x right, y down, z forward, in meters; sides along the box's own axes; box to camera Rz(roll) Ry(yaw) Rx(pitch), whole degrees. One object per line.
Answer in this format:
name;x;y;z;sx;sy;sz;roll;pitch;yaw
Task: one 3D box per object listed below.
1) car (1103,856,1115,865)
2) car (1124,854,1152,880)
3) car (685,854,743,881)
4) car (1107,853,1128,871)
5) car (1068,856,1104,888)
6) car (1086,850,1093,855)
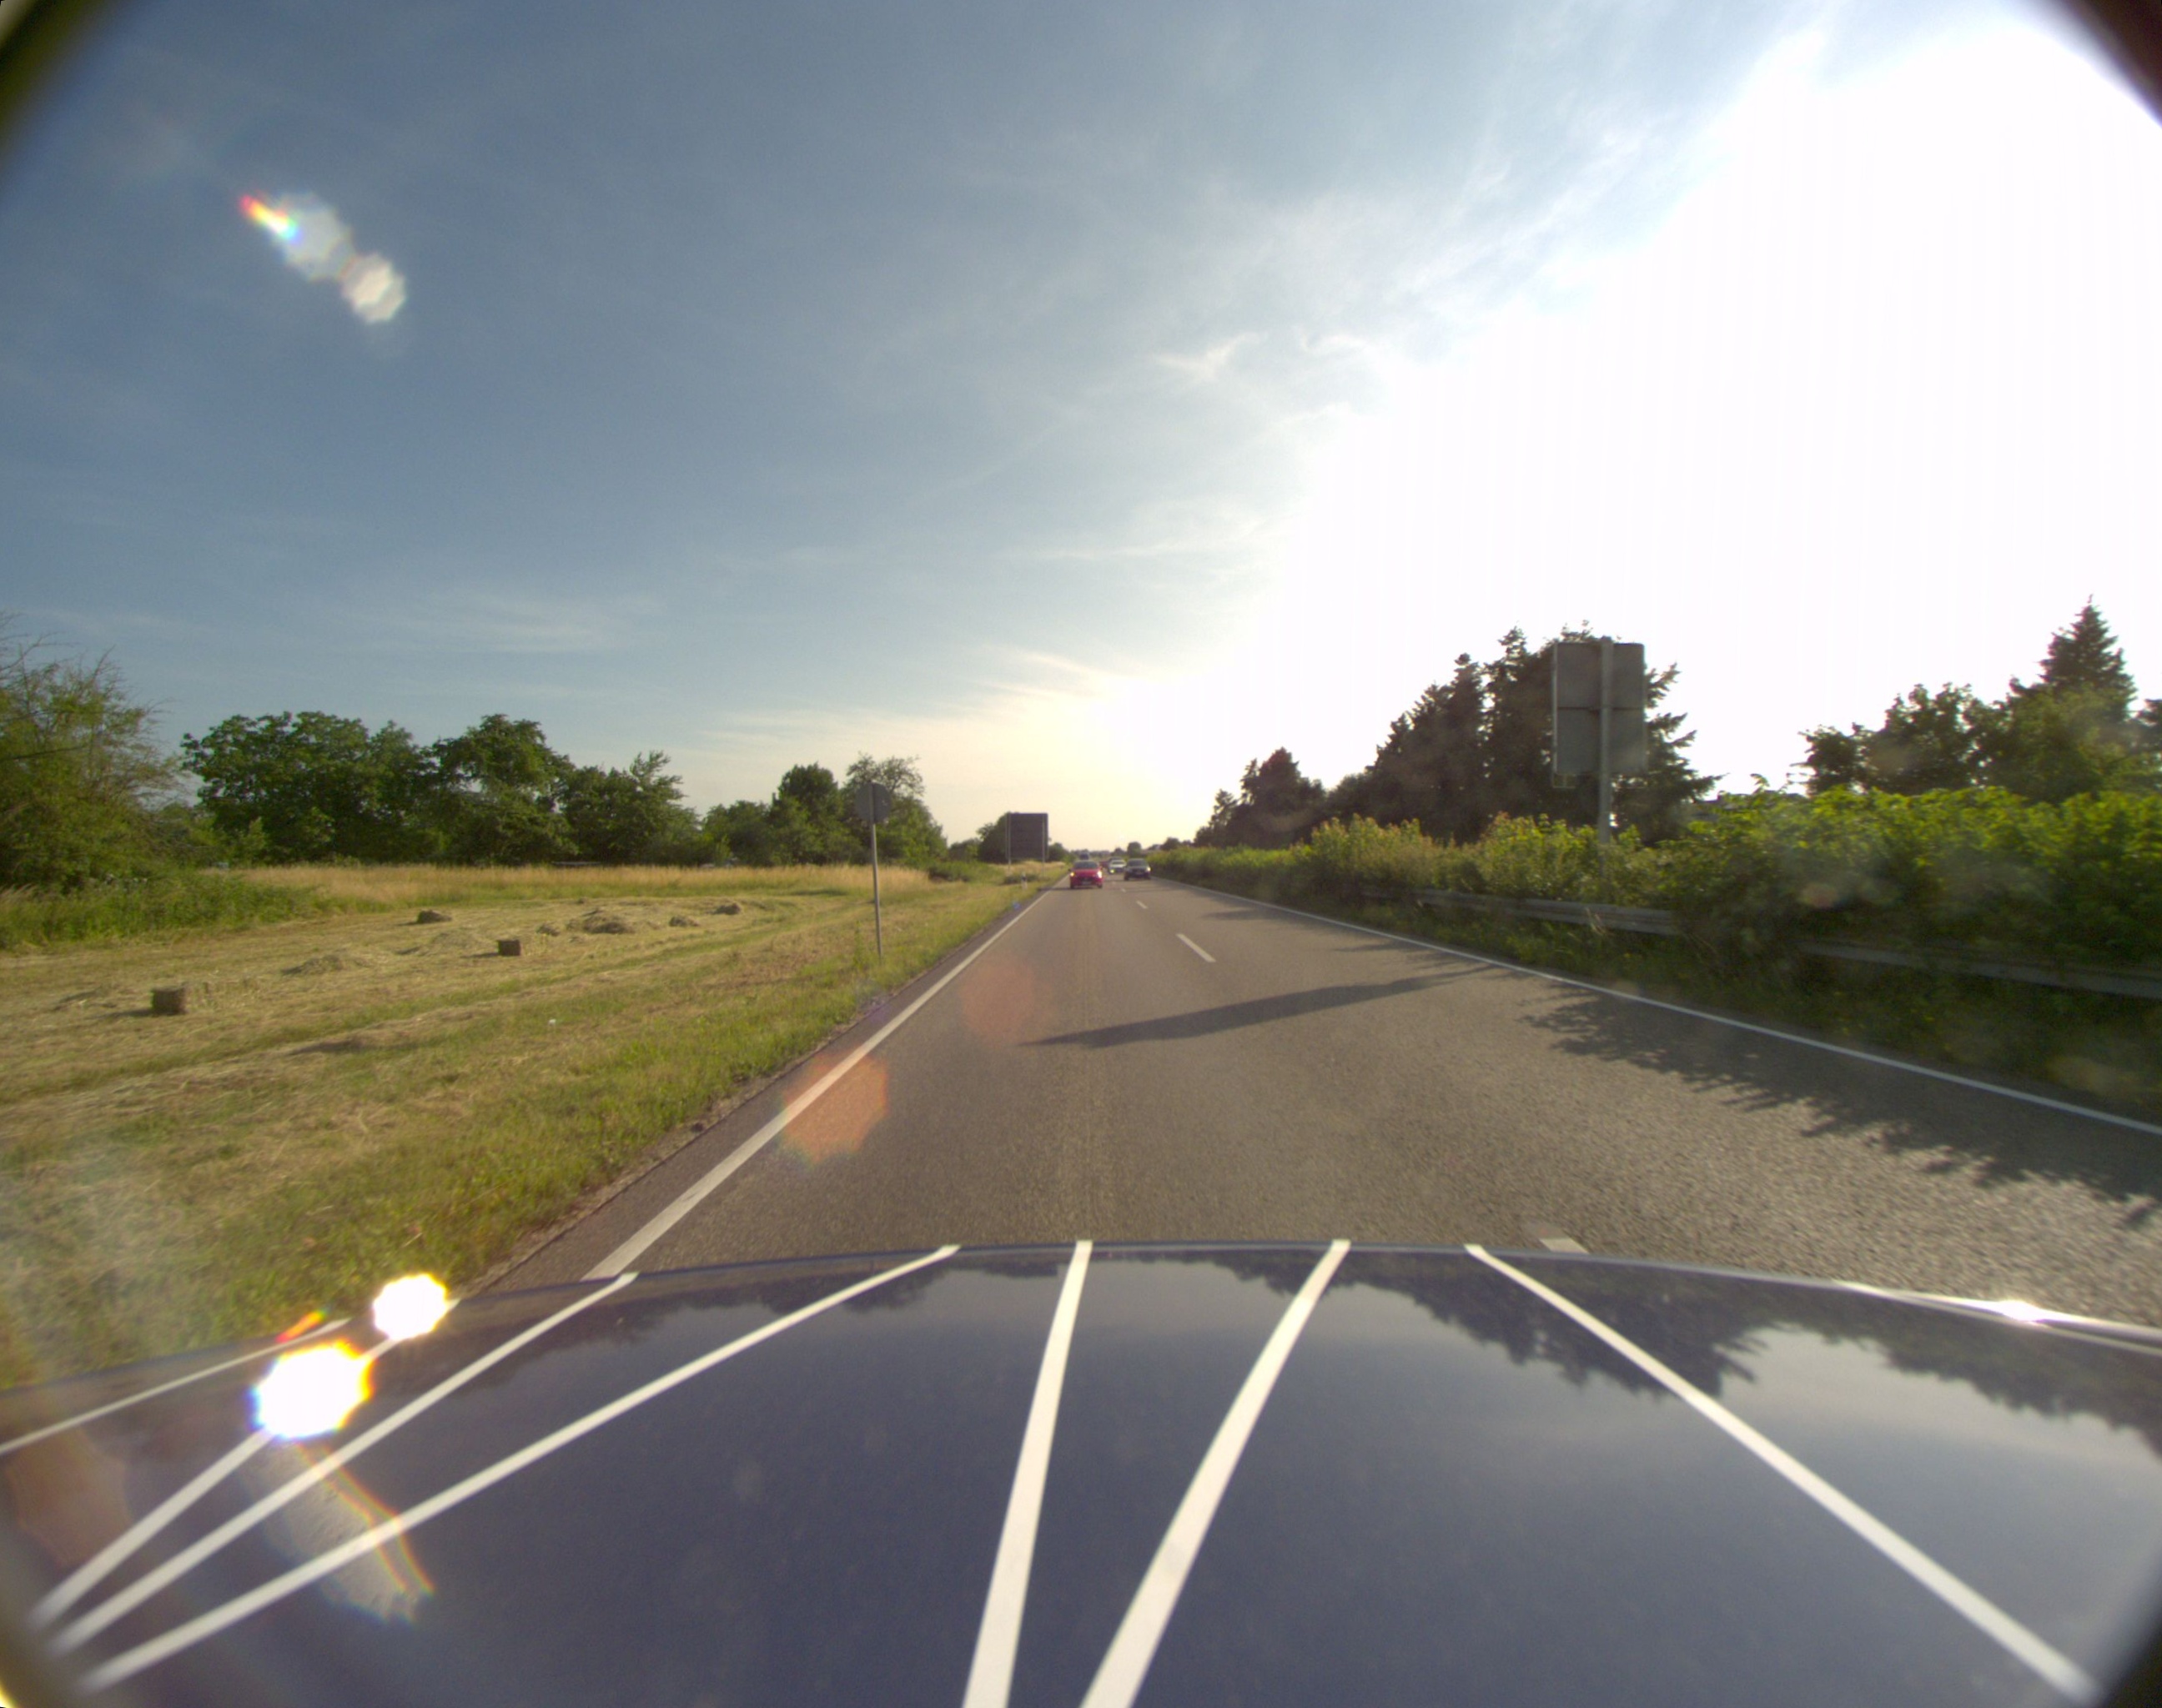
car;5.085;1.180;138.169;1.998;1.412;4.000;-2;0;2
car;3.973;0.897;53.271;1.693;1.695;4.000;-2;0;1
car;-25.189;0.910;52.317;1.998;1.739;4.000;-2;0;0
car;3.763;0.855;78.709;1.998;1.762;4.000;-2;0;2
car;0.329;0.938;40.963;1.821;1.565;4.000;-2;0;2
car;2.439;-0.319;214.556;1.998;1.412;4.000;-2;0;2
